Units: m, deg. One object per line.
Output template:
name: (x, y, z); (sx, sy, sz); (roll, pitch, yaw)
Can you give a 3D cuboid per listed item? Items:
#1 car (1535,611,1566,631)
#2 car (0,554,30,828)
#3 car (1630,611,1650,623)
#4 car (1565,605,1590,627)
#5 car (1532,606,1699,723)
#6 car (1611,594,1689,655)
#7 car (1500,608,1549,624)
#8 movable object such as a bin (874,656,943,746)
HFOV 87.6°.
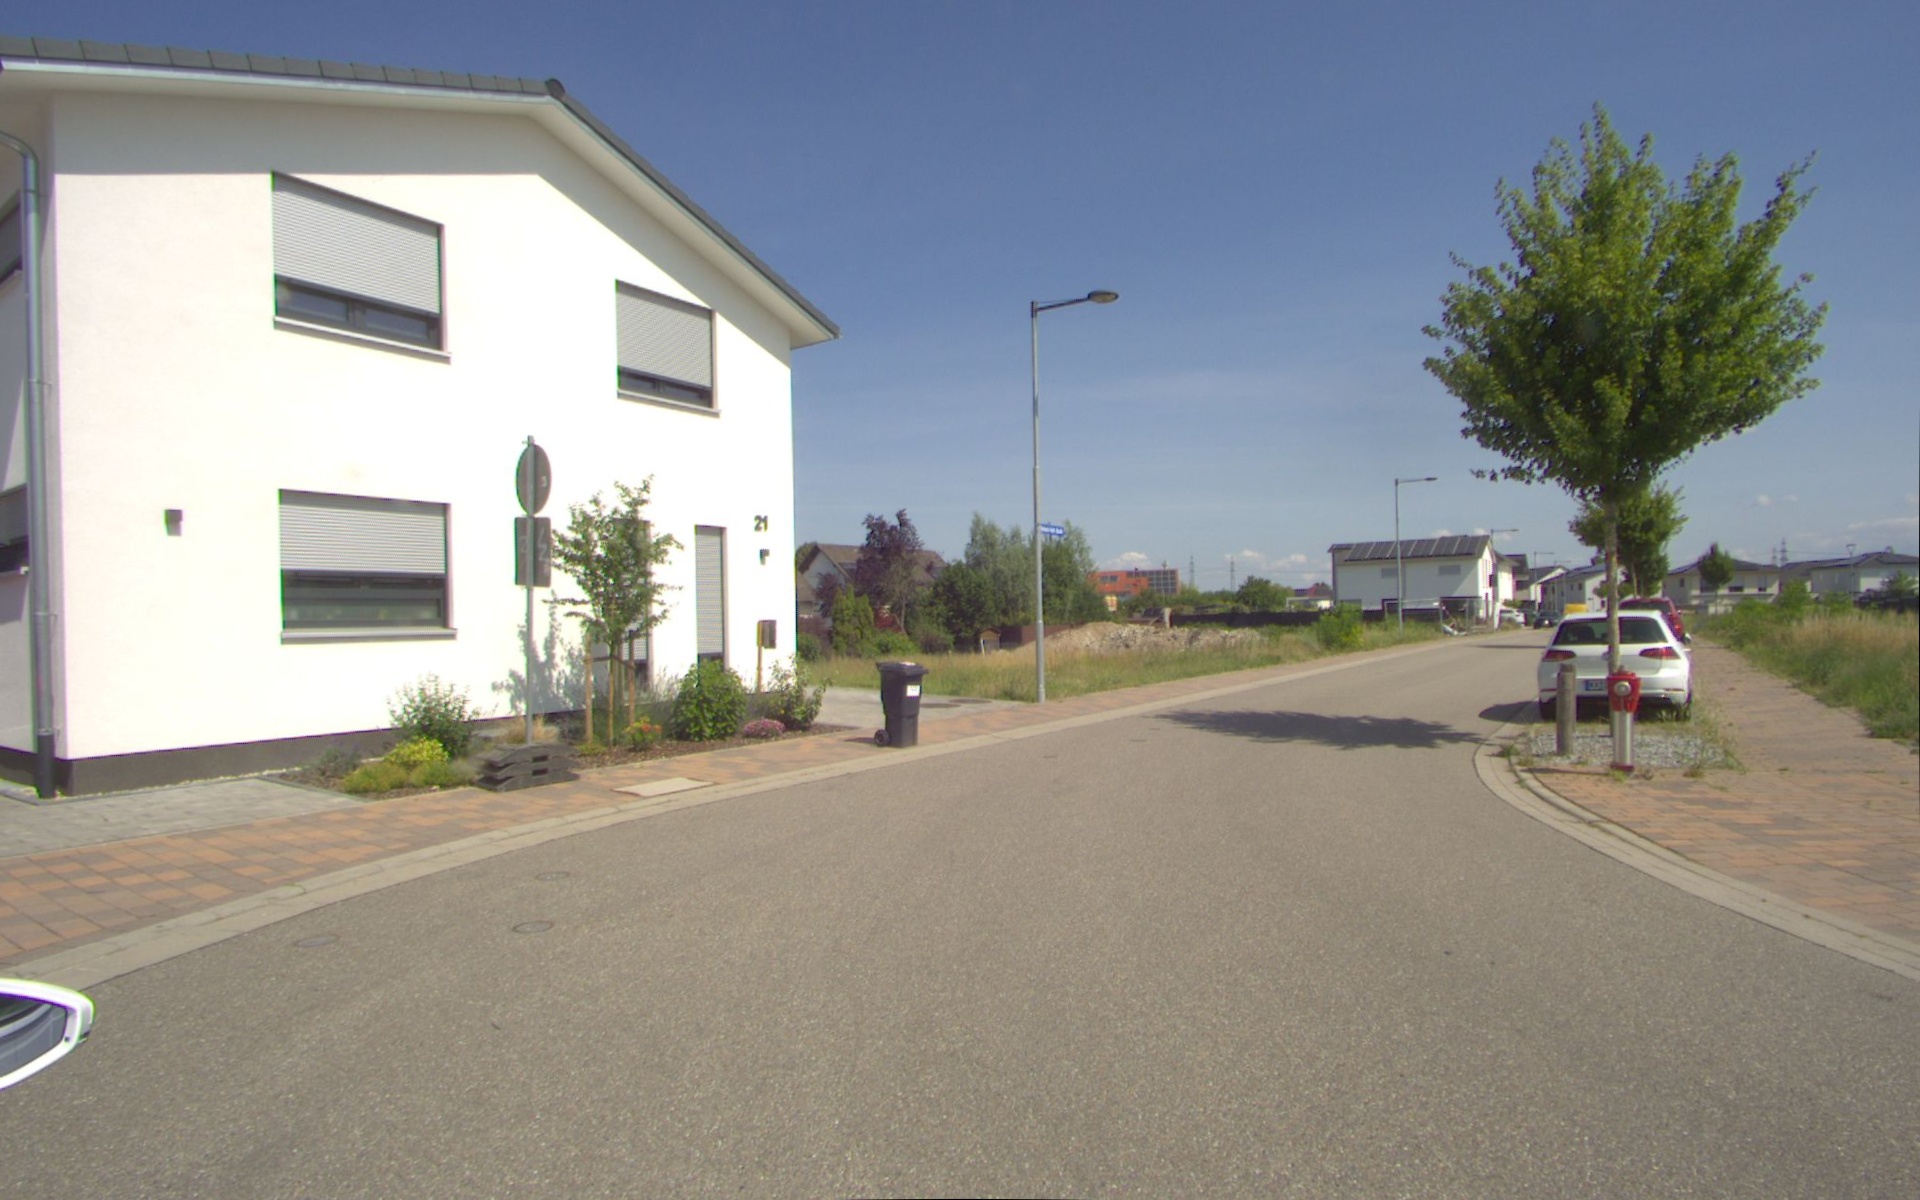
car: (45.243, 1.566, 76.722); (1.727, 1.423, 4.135); (1, 0, 35)
car: (-9.047, 0.692, 7.537); (4.686, 1.899, 1.928); (-2, -1, 33)
car: (82.619, 2.099, 121.661); (1.608, 1.339, 3.820); (-1, -3, 28)
car: (57.118, 1.498, 92.690); (1.920, 2.006, 4.197); (-1, -2, 31)
car: (9.639, 0.859, 14.667); (1.758, 1.438, 4.139); (-4, -2, 35)
car: (20.884, 0.722, 30.368); (1.759, 1.684, 4.407); (-3, -2, 34)
car: (58.949, 1.666, 104.566); (4.100, 1.525, 1.812); (3, 1, 20)
movable object such as a bin: (-0.582, 1.128, 11.335); (0.616, 0.960, 0.498); (-1, -1, 31)
